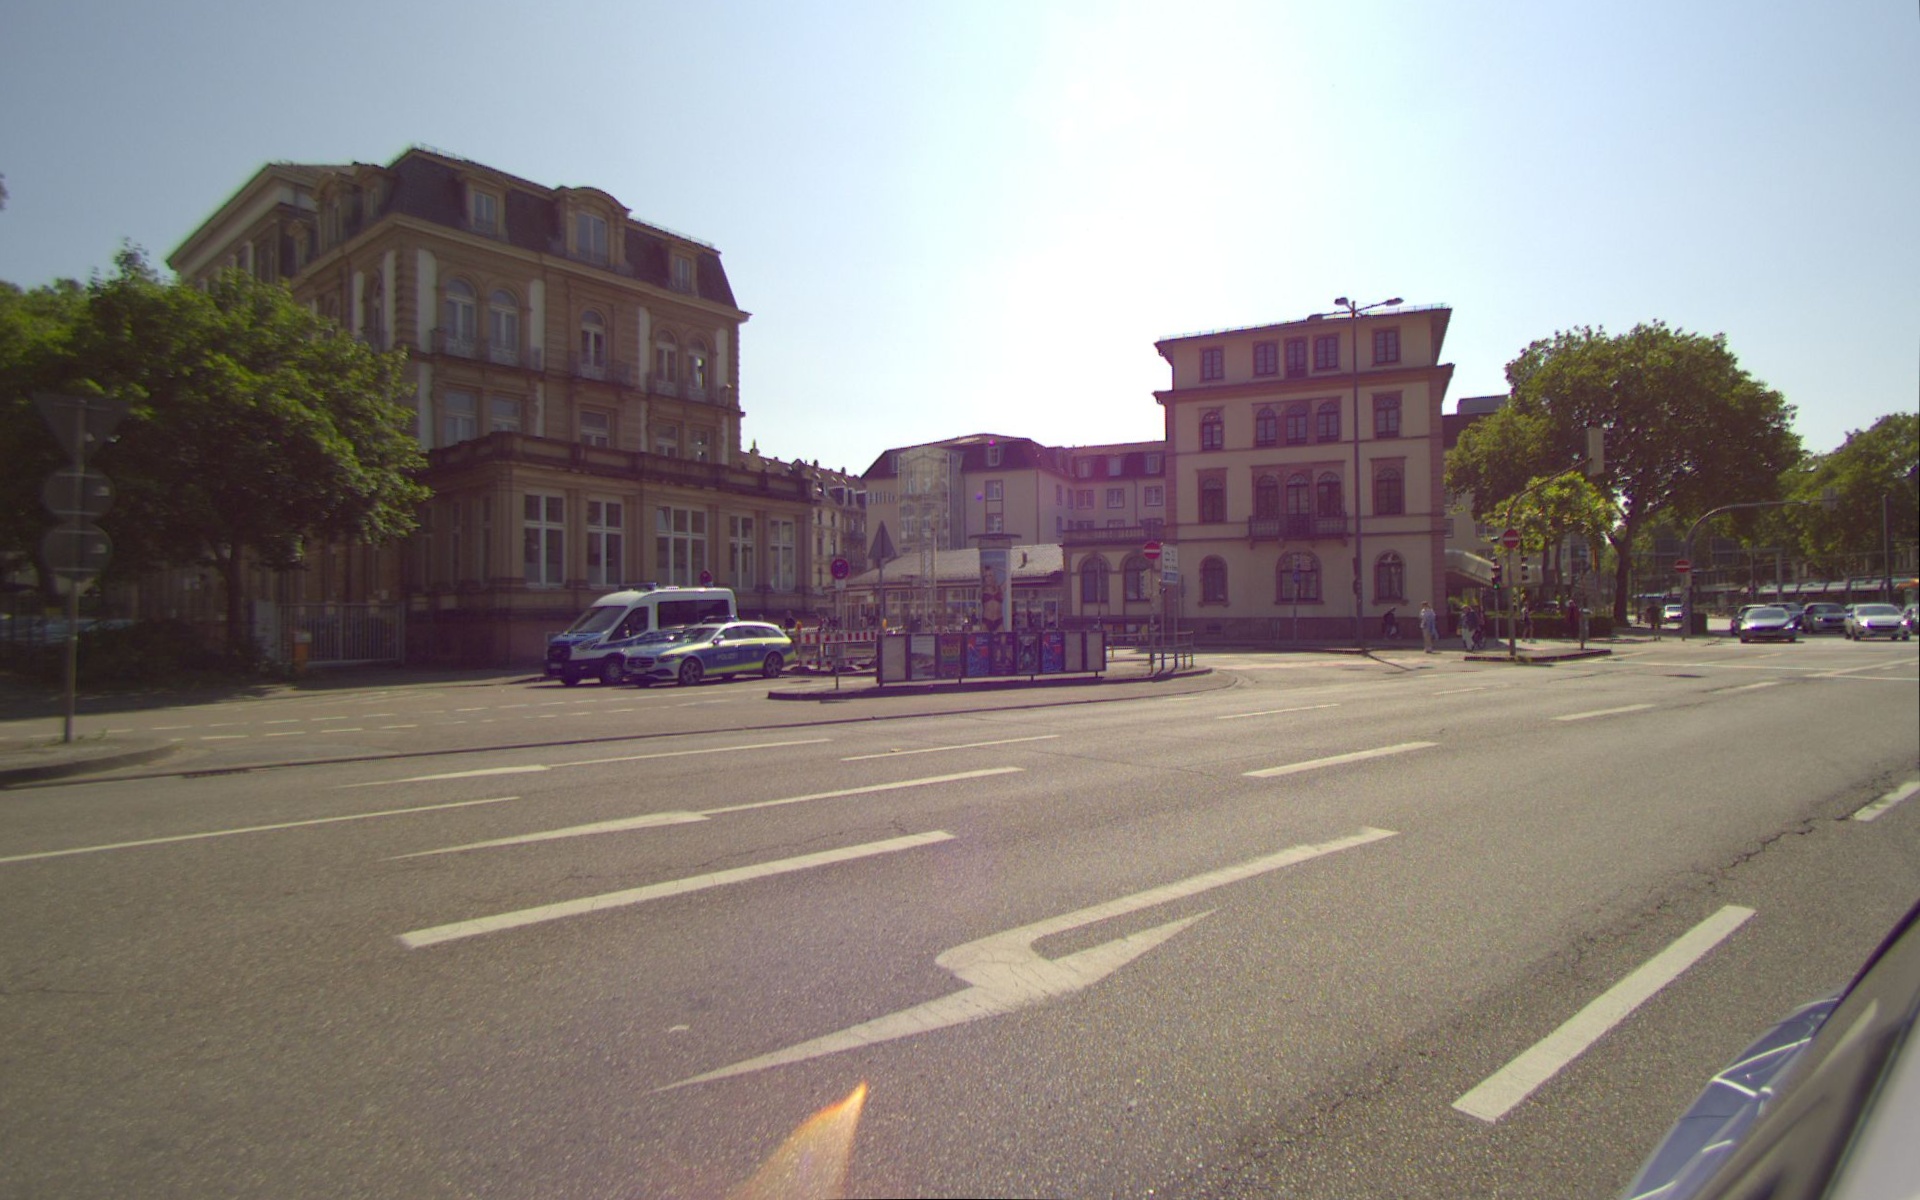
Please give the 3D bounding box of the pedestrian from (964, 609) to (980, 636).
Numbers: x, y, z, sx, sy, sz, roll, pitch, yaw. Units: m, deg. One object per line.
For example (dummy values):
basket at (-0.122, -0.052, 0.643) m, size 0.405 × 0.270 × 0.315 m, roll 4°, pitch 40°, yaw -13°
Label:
pedestrian at (0.732, 1.388, 61.792) m, size 0.706 × 1.624 × 0.723 m, roll 0°, pitch -2°, yaw -40°

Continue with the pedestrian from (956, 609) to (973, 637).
pedestrian at (0.283, 1.394, 61.412) m, size 0.706 × 1.624 × 0.723 m, roll 0°, pitch -2°, yaw -40°

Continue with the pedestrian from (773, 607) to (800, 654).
pedestrian at (-6.652, 1.150, 38.855) m, size 0.697 × 1.774 × 0.712 m, roll -2°, pitch -1°, yaw 35°

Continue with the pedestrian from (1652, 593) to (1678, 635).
pedestrian at (31.586, 0.637, 45.337) m, size 0.715 × 1.869 × 0.592 m, roll -1°, pitch -1°, yaw 0°

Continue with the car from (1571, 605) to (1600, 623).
car at (48.060, 1.098, 77.771) m, size 1.575 × 1.339 × 3.545 m, roll -1°, pitch -1°, yaw 27°

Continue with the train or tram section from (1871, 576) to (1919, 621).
train or tram section at (71.690, -0.115, 75.431) m, size 2.702 × 3.309 × 8.672 m, roll -1°, pitch -1°, yaw 22°

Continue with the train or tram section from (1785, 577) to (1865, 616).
train or tram section at (78.046, -0.267, 91.547) m, size 2.702 × 3.309 × 8.672 m, roll -1°, pitch -1°, yaw 22°

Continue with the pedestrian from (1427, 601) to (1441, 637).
pedestrian at (21.794, 0.872, 46.526) m, size 0.530 × 1.670 × 0.575 m, roll -1°, pitch -1°, yaw 26°

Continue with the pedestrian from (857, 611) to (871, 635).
pedestrian at (-6.482, 1.556, 68.207) m, size 0.705 × 1.624 × 0.724 m, roll 0°, pitch -2°, yaw -35°

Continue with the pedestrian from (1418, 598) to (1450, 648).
pedestrian at (16.273, 0.783, 34.760) m, size 0.751 × 1.681 × 0.817 m, roll -2°, pitch -2°, yaw 42°

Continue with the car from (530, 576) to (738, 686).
car at (-8.526, 0.770, 26.990) m, size 1.985 × 2.637 × 5.255 m, roll -2°, pitch -1°, yaw 33°

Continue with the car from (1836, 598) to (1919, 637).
car at (37.229, 0.673, 40.795) m, size 1.772 × 1.470 × 3.943 m, roll 0°, pitch 0°, yaw 23°

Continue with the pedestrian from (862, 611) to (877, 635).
pedestrian at (-6.216, 1.548, 69.395) m, size 0.705 × 1.624 × 0.724 m, roll 0°, pitch -2°, yaw -36°

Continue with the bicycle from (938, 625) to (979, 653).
bicycle at (-0.063, 1.591, 41.412) m, size 1.812 × 1.113 × 0.497 m, roll 0°, pitch -1°, yaw 41°

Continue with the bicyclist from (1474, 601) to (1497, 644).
bicyclist at (19.742, 0.844, 38.040) m, size 0.591 × 1.627 × 0.673 m, roll -2°, pitch -2°, yaw 43°

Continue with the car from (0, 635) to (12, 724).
car at (-17.207, 1.299, 15.512) m, size 3.627 × 1.436 × 1.750 m, roll -1°, pitch -1°, yaw -4°

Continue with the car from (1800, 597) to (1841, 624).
car at (49.564, 0.581, 58.290) m, size 1.784 × 1.470 × 3.915 m, roll 0°, pitch 0°, yaw 41°

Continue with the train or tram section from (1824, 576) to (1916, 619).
train or tram section at (74.856, -0.190, 83.473) m, size 2.702 × 3.309 × 8.672 m, roll -1°, pitch -1°, yaw 22°

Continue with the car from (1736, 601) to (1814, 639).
car at (33.526, 0.774, 41.739) m, size 1.775 × 1.470 × 3.935 m, roll 0°, pitch 0°, yaw 28°

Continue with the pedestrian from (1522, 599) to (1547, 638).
pedestrian at (25.531, 0.802, 44.964) m, size 0.834 × 1.717 × 0.739 m, roll -1°, pitch -1°, yaw 22°

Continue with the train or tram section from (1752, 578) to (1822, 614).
train or tram section at (81.259, -0.343, 99.611) m, size 2.702 × 3.309 × 8.672 m, roll -1°, pitch -1°, yaw 22°

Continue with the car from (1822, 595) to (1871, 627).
car at (44.606, 0.538, 50.939) m, size 1.785 × 1.550 × 3.914 m, roll 0°, pitch 0°, yaw 41°

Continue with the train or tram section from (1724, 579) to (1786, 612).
train or tram section at (84.493, -0.420, 107.708) m, size 2.702 × 3.309 × 8.672 m, roll -1°, pitch -1°, yaw 22°

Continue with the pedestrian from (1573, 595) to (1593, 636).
pedestrian at (28.495, 0.715, 46.307) m, size 0.720 × 1.828 × 0.646 m, roll -2°, pitch -1°, yaw 29°

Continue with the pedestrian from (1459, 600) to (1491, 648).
pedestrian at (17.600, 0.818, 34.592) m, size 0.770 × 1.592 × 0.816 m, roll -2°, pitch -2°, yaw 43°

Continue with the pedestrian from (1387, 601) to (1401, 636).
pedestrian at (20.761, 0.871, 48.398) m, size 0.530 × 1.670 × 0.668 m, roll -1°, pitch -1°, yaw 26°

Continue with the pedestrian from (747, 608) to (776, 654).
pedestrian at (-7.670, 1.186, 39.037) m, size 0.815 × 1.762 × 0.742 m, roll -2°, pitch -1°, yaw 33°

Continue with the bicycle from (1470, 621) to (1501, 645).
bicycle at (19.752, 1.235, 38.026) m, size 0.591 × 0.866 × 1.718 m, roll -2°, pitch -1°, yaw 42°

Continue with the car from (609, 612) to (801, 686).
car at (-6.298, 1.154, 25.561) m, size 1.808 × 1.647 × 4.824 m, roll -2°, pitch -1°, yaw 32°
